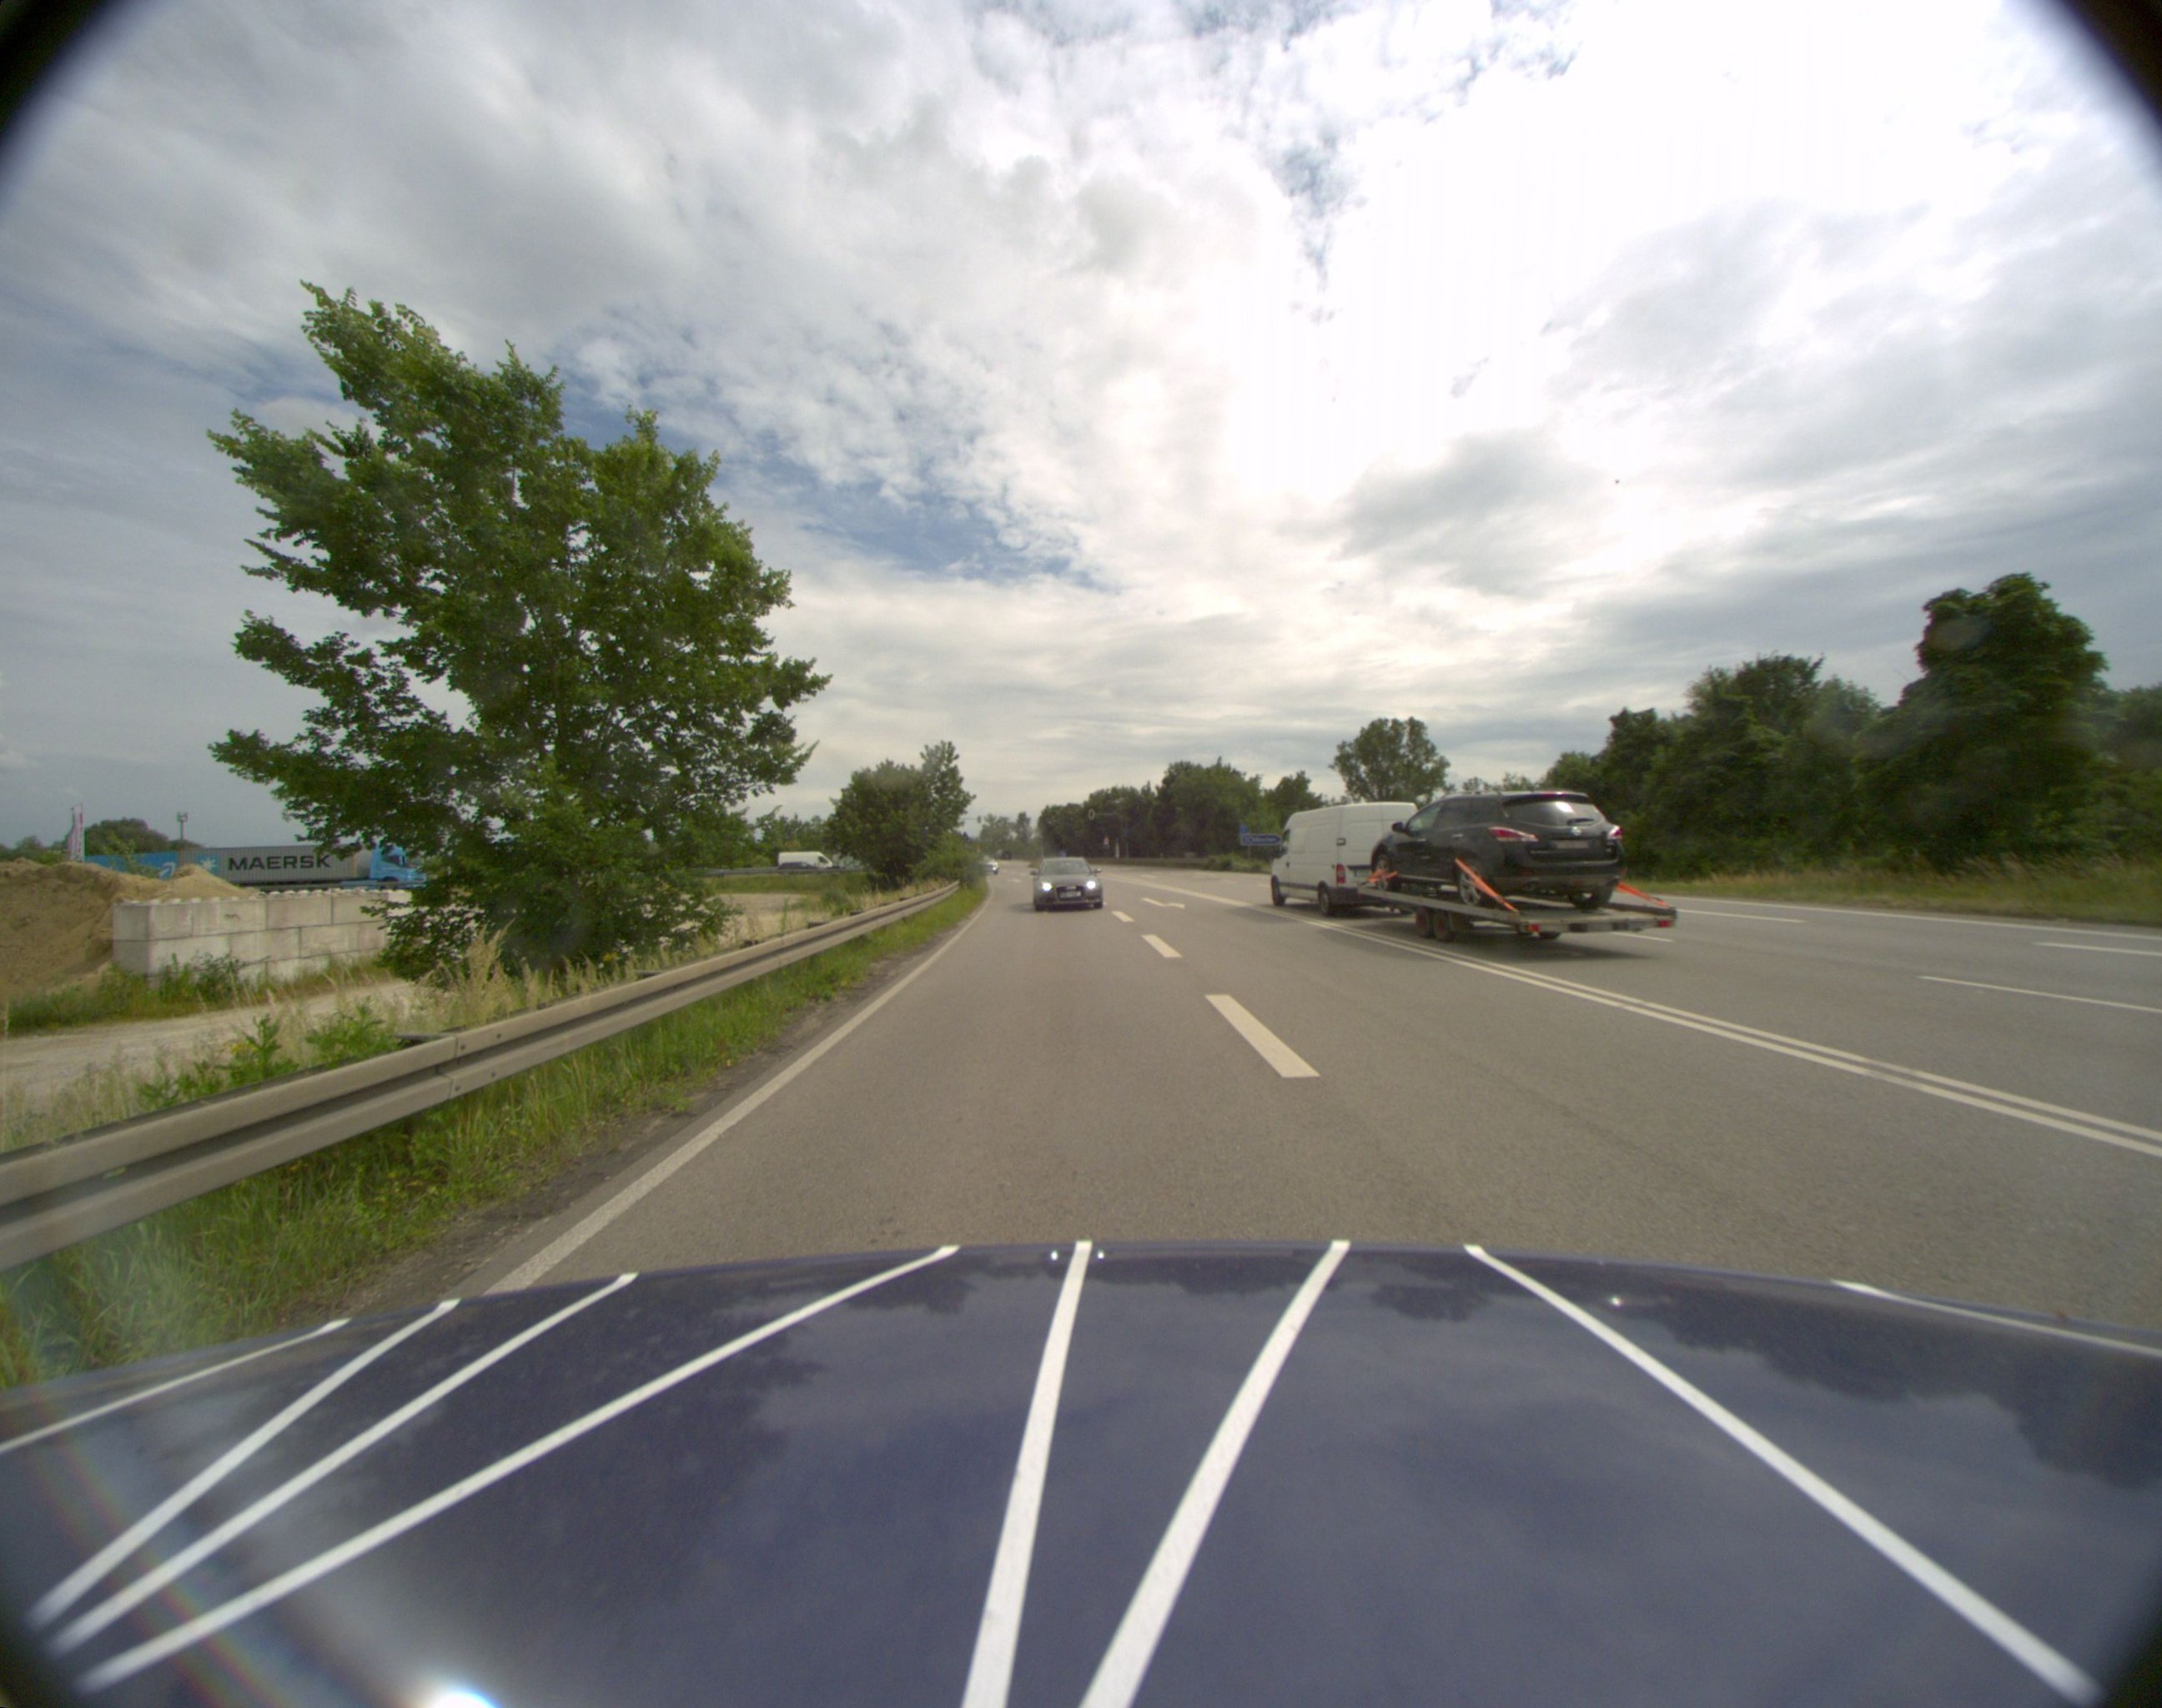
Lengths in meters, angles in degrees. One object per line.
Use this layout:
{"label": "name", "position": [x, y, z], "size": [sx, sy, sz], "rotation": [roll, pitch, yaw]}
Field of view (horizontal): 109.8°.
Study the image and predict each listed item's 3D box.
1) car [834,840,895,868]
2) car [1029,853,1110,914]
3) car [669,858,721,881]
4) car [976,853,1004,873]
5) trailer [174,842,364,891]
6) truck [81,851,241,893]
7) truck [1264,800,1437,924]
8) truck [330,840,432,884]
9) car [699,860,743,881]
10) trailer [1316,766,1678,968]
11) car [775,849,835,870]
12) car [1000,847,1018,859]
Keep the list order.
{"label": "car", "position": [-21.133, -0.005, 74.480], "size": [5.418, 2.552, 2.458], "rotation": [-1, 0, -7]}
{"label": "car", "position": [-0.432, 0.804, 22.154], "size": [1.958, 1.527, 3.998], "rotation": [-2, 0, -6]}
{"label": "car", "position": [-35.755, 1.447, 70.491], "size": [4.003, 2.001, 1.929], "rotation": [-1, 0, -17]}
{"label": "car", "position": [-7.620, 0.745, 63.499], "size": [2.022, 1.603, 4.277], "rotation": [-2, 0, -10]}
{"label": "trailer", "position": [-65.439, 0.969, 61.494], "size": [11.232, 3.290, 2.390], "rotation": [-3, 0, -9]}
{"label": "truck", "position": [-79.079, 1.527, 65.385], "size": [11.745, 3.036, 2.393], "rotation": [-3, 0, 5]}
{"label": "truck", "position": [6.042, 0.154, 17.811], "size": [2.029, 2.430, 5.023], "rotation": [-2, 0, -2]}
{"label": "truck", "position": [-57.866, 0.637, 62.913], "size": [5.598, 3.285, 2.389], "rotation": [-3, 0, -14]}
{"label": "car", "position": [-38.855, 1.768, 82.033], "size": [4.002, 2.002, 1.929], "rotation": [-2, 0, -17]}
{"label": "trailer", "position": [6.242, 0.153, 12.879], "size": [2.029, 2.430, 6.964], "rotation": [-2, 0, -2]}
{"label": "car", "position": [-29.308, 0.541, 80.890], "size": [5.901, 2.002, 2.058], "rotation": [-2, 0, -17]}
{"label": "car", "position": [-12.793, -0.088, 134.290], "size": [2.002, 2.002, 3.992], "rotation": [-3, 1, -22]}
